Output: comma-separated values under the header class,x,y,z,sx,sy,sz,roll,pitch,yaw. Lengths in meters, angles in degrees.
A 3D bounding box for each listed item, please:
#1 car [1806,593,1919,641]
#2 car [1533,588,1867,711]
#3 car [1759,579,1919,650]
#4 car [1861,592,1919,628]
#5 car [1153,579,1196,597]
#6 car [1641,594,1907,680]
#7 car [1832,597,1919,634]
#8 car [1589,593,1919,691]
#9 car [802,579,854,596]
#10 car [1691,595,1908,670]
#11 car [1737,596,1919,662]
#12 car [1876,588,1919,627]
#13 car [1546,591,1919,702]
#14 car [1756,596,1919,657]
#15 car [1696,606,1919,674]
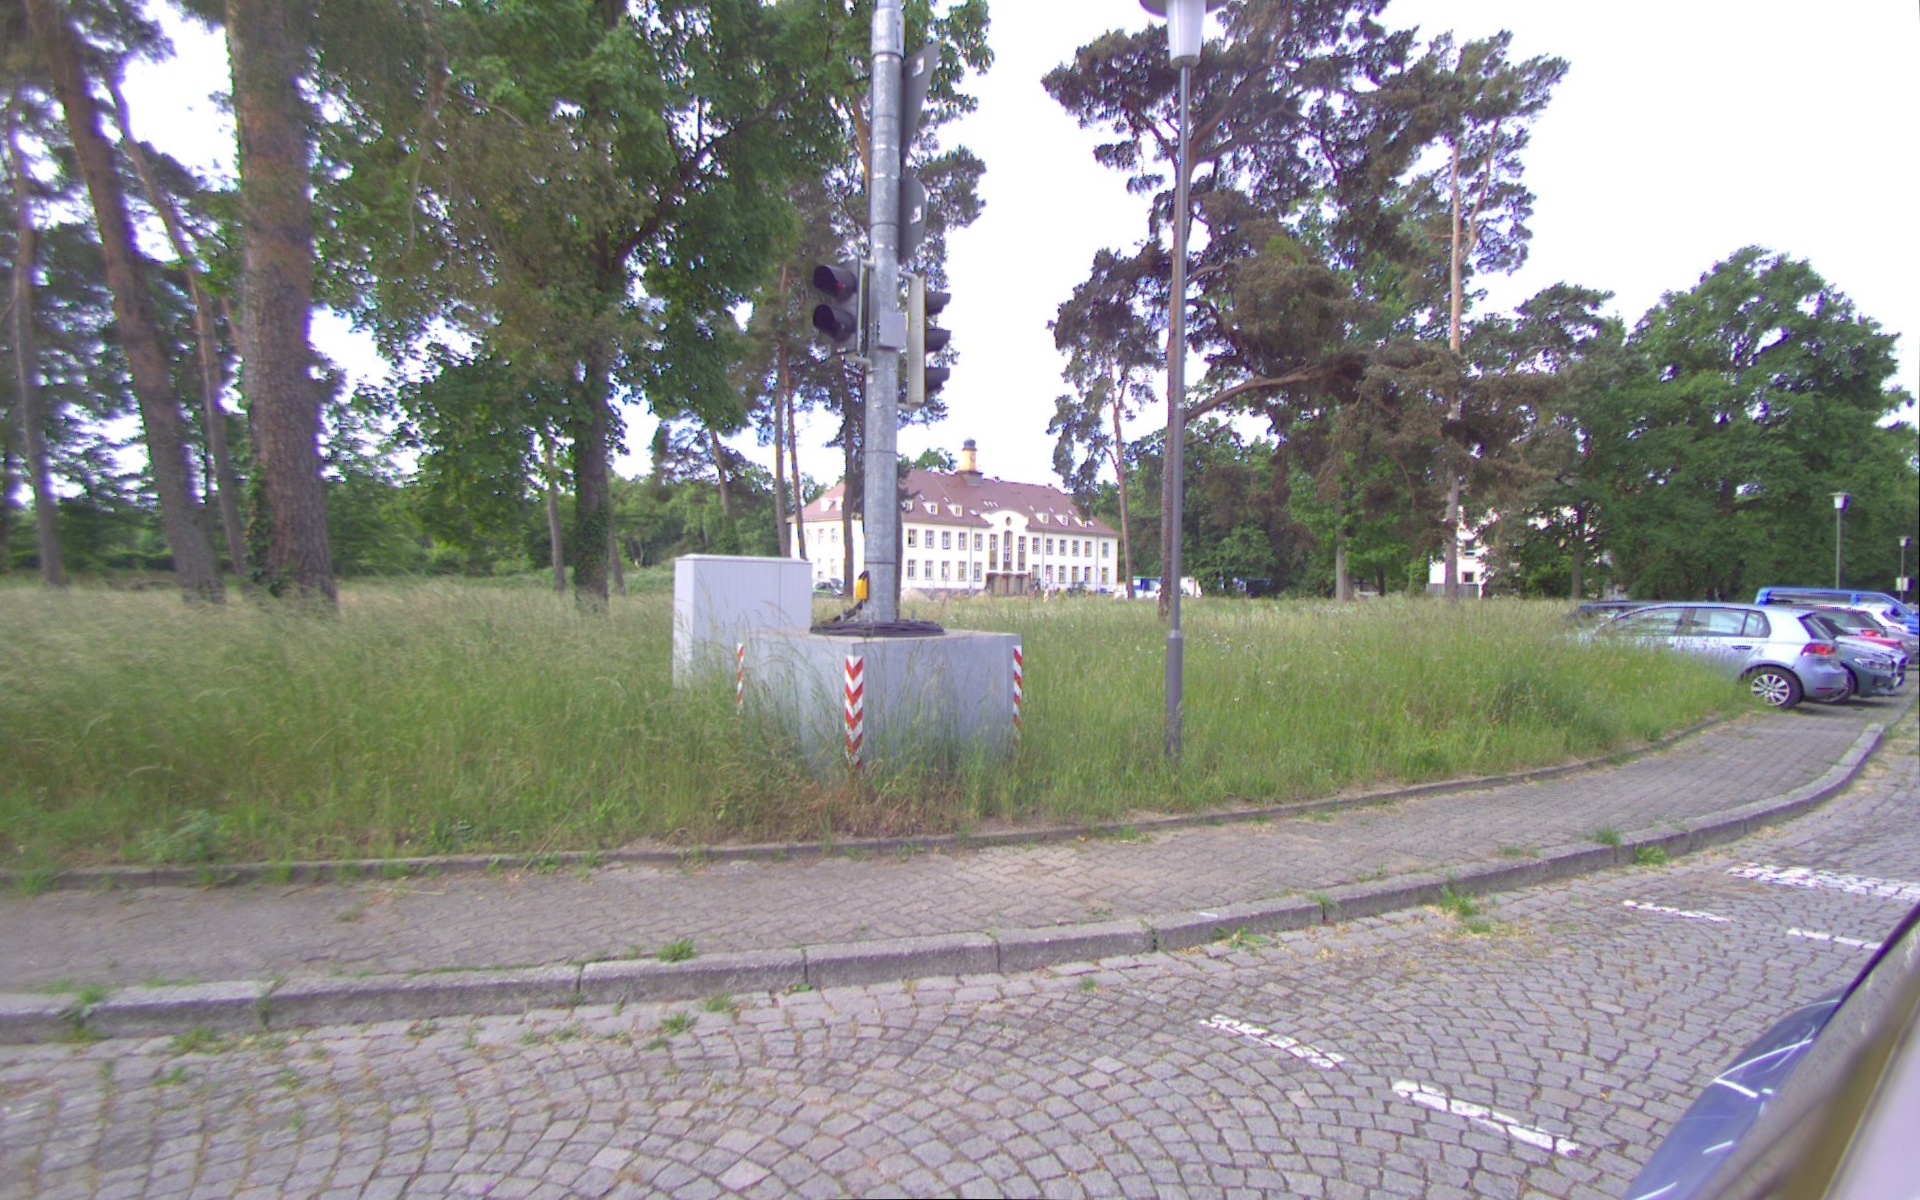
class,x,y,z,sx,sy,sz,roll,pitch,yaw
car,34.032,0.596,37.442,1.966,1.630,3.992,0,1,-43
car,10.787,0.625,14.931,3.765,1.444,1.580,4,2,45
car,27.826,0.420,31.208,1.967,1.963,4.743,0,2,-43
car,48.635,0.520,51.455,1.966,1.784,4.004,0,1,-42
car,24.706,-1.383,116.658,5.132,2.039,2.152,0,1,-41
car,16.272,0.663,20.368,1.769,1.470,3.967,0,1,-43
car,41.205,0.660,44.646,1.966,1.549,3.991,0,0,-43
car,14.676,0.667,18.818,1.782,1.501,4.763,0,1,-43
car,-15.130,-1.435,115.865,6.164,1.882,2.307,2,1,38
car,19.711,0.692,23.852,1.770,1.524,3.779,0,1,-45
car,22.125,0.677,25.423,1.788,1.474,3.847,0,1,-40
car,51.921,0.423,54.270,1.966,2.039,3.993,0,1,-42
car,12.657,0.659,16.836,4.758,1.501,1.734,2,1,44
car,23.966,0.668,27.523,1.609,1.470,3.405,0,1,-42
car,18.113,0.799,21.650,1.469,1.222,3.596,1,1,-42
